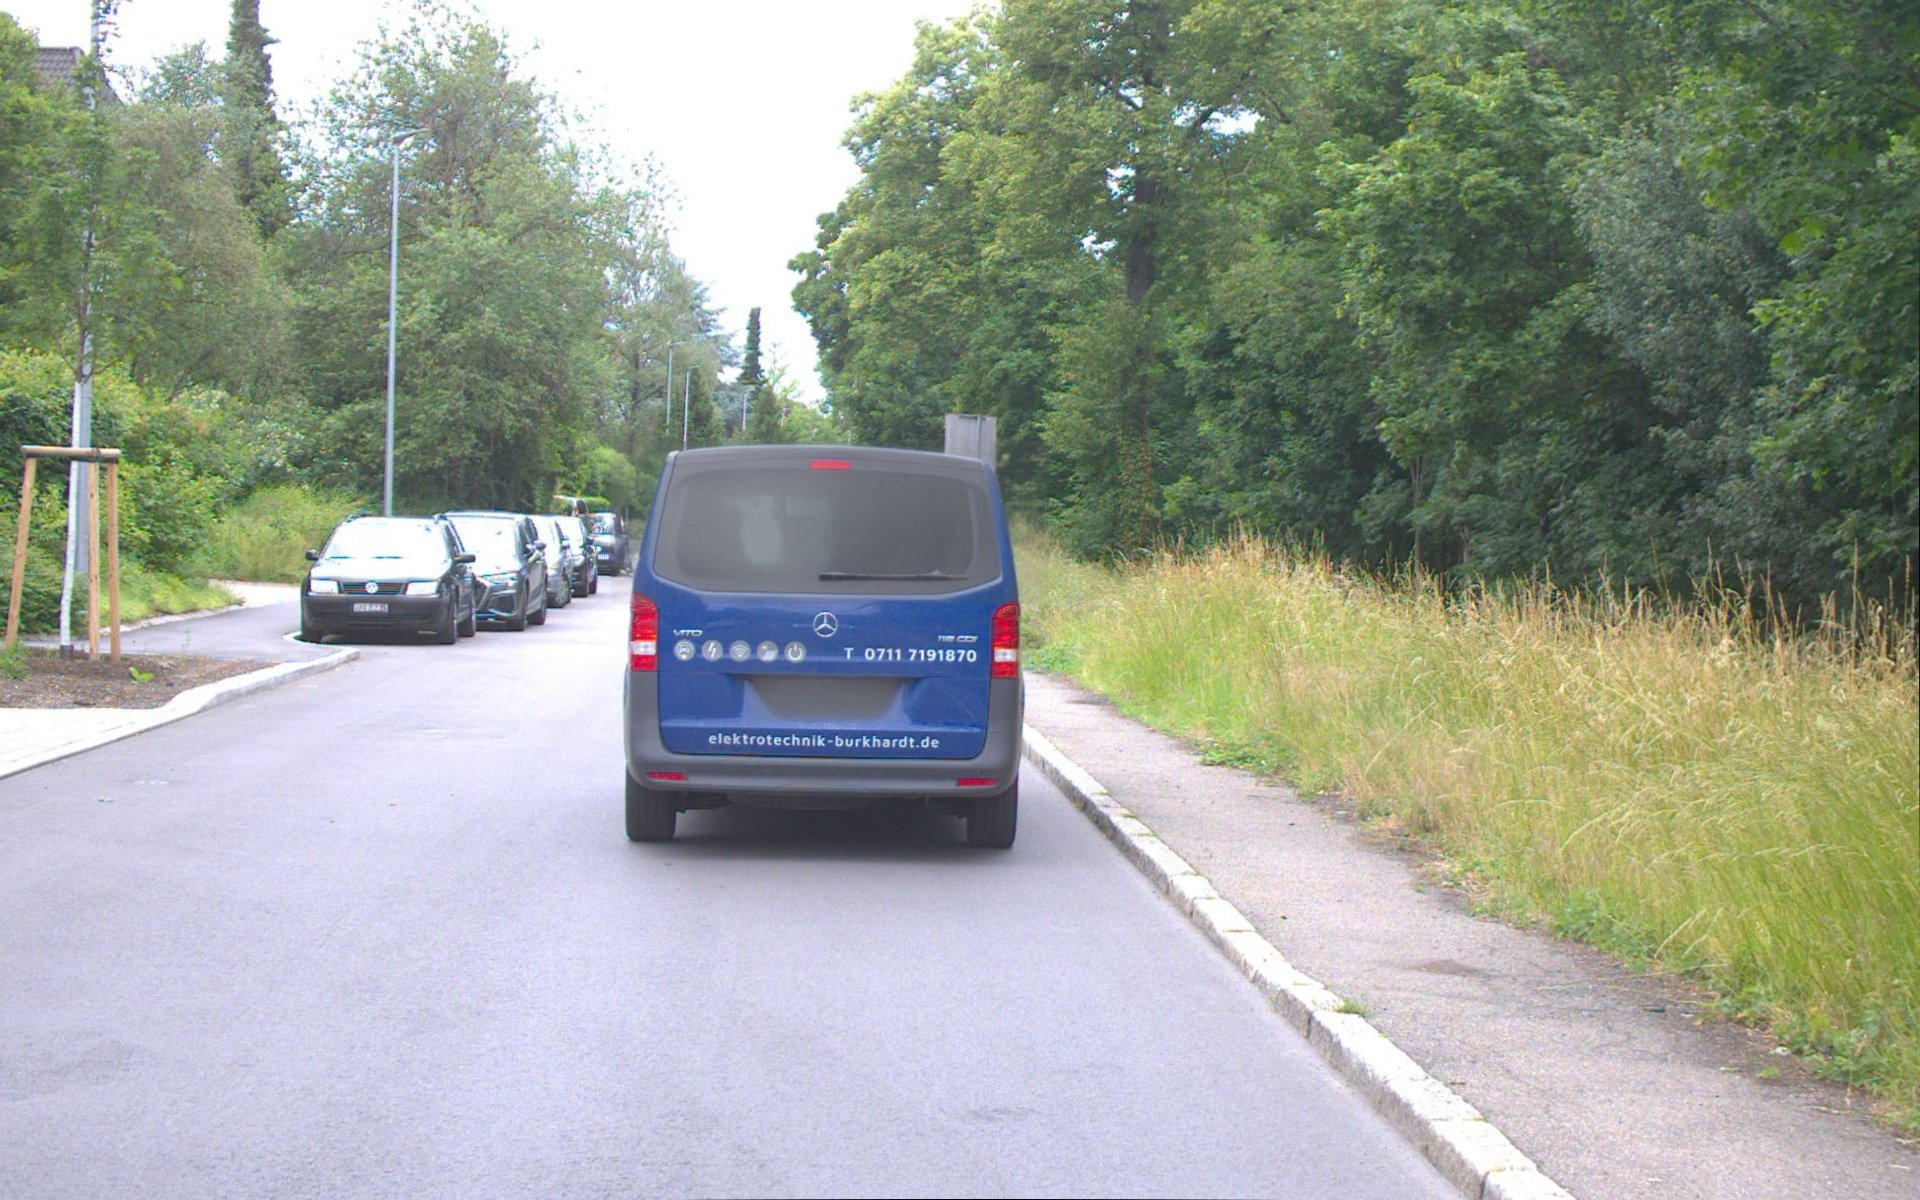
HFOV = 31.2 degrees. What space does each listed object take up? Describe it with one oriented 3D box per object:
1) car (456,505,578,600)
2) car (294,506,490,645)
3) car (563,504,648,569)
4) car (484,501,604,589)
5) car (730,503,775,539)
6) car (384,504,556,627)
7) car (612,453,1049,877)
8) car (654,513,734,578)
[{"bbox_3d":[-7.078,-0.787,55.235,1.624,1.427,4.352,2,1,-4],"label":"car"},{"bbox_3d":[-6.565,-0.333,40.160,1.682,1.477,4.694,2,1,-3],"label":"car"},{"bbox_3d":[-8.421,-1.523,81.908,1.623,1.445,3.969,2,1,-1],"label":"car"},{"bbox_3d":[-7.422,-1.009,61.713,1.778,1.427,5.106,3,1,-4],"label":"car"},{"bbox_3d":[-10.378,-3.939,172.027,1.836,1.625,4.300,4,1,1],"label":"car"},{"bbox_3d":[-6.379,-0.489,45.140,1.706,1.477,4.496,2,1,-2],"label":"car"},{"bbox_3d":[-0.733,0.221,17.410,1.888,1.837,4.001,2,2,-4],"label":"car"},{"bbox_3d":[-6.282,-1.317,81.564,1.780,1.421,4.490,3,1,-4],"label":"car"}]
